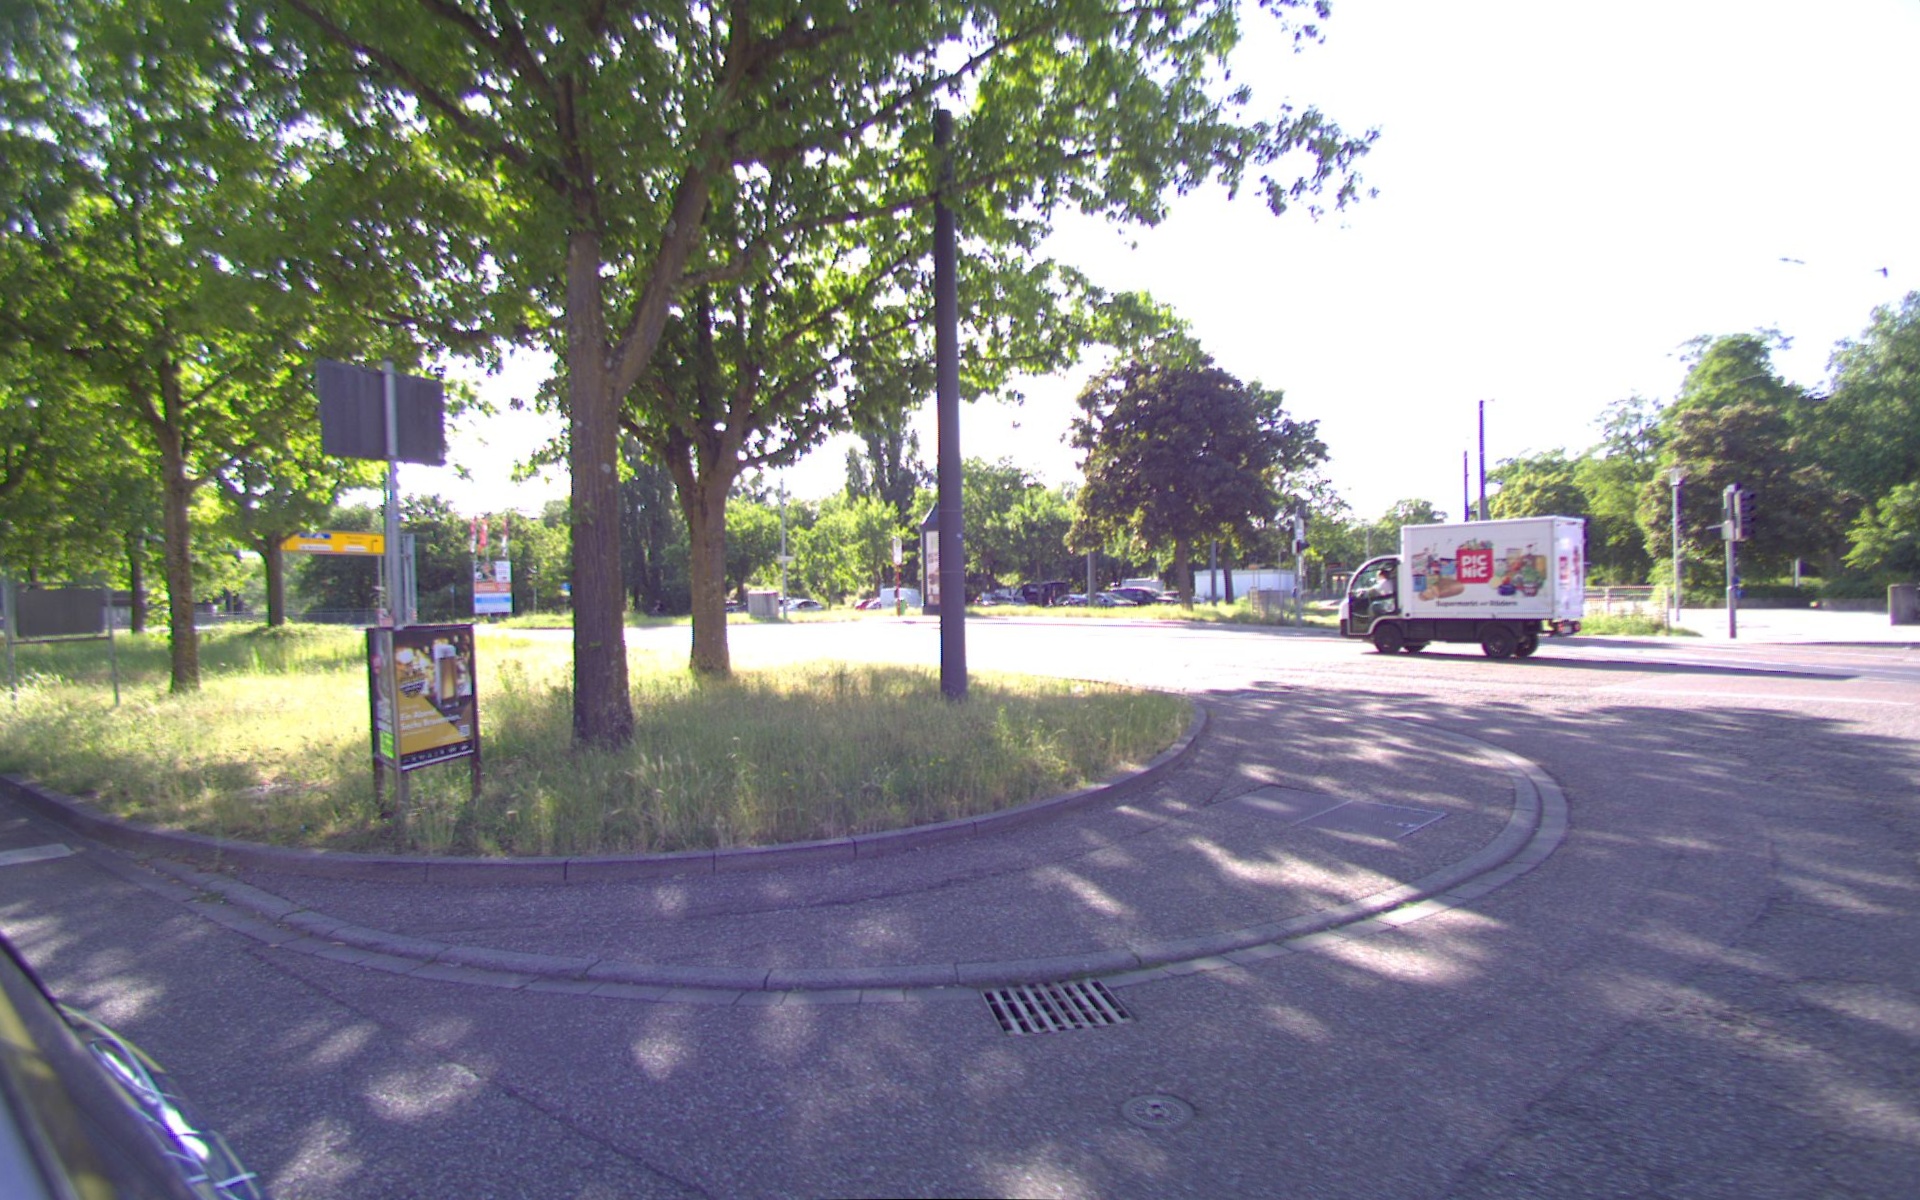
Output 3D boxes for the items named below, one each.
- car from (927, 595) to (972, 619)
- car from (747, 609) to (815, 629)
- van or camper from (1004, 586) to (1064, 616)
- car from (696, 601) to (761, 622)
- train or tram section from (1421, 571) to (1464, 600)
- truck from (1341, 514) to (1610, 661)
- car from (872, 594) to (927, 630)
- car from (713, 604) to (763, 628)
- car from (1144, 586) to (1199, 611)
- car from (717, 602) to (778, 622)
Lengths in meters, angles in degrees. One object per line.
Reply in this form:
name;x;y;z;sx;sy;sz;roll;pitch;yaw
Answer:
car;-0.603;0.391;60.420;1.978;1.292;3.987;-1;0;10
car;-11.221;1.171;63.320;3.984;1.137;1.804;-1;0;30
van or camper;5.497;0.100;75.522;1.968;2.112;4.411;-1;0;-37
car;-18.220;0.909;79.745;4.502;1.475;1.996;-1;2;7
train or tram section;55.009;-1.681;115.053;2.461;2.962;19.635;-1;0;31
truck;9.567;-0.204;19.057;1.766;2.445;4.117;-2;0;-40
car;-3.608;0.681;61.556;2.215;2.029;4.983;-1;0;10
car;-14.596;1.049;66.496;1.792;1.459;4.010;-2;0;-34
car;15.818;-0.096;75.860;3.924;1.732;1.874;-2;0;13
car;-17.462;0.973;83.310;4.502;1.475;1.996;-1;2;7
